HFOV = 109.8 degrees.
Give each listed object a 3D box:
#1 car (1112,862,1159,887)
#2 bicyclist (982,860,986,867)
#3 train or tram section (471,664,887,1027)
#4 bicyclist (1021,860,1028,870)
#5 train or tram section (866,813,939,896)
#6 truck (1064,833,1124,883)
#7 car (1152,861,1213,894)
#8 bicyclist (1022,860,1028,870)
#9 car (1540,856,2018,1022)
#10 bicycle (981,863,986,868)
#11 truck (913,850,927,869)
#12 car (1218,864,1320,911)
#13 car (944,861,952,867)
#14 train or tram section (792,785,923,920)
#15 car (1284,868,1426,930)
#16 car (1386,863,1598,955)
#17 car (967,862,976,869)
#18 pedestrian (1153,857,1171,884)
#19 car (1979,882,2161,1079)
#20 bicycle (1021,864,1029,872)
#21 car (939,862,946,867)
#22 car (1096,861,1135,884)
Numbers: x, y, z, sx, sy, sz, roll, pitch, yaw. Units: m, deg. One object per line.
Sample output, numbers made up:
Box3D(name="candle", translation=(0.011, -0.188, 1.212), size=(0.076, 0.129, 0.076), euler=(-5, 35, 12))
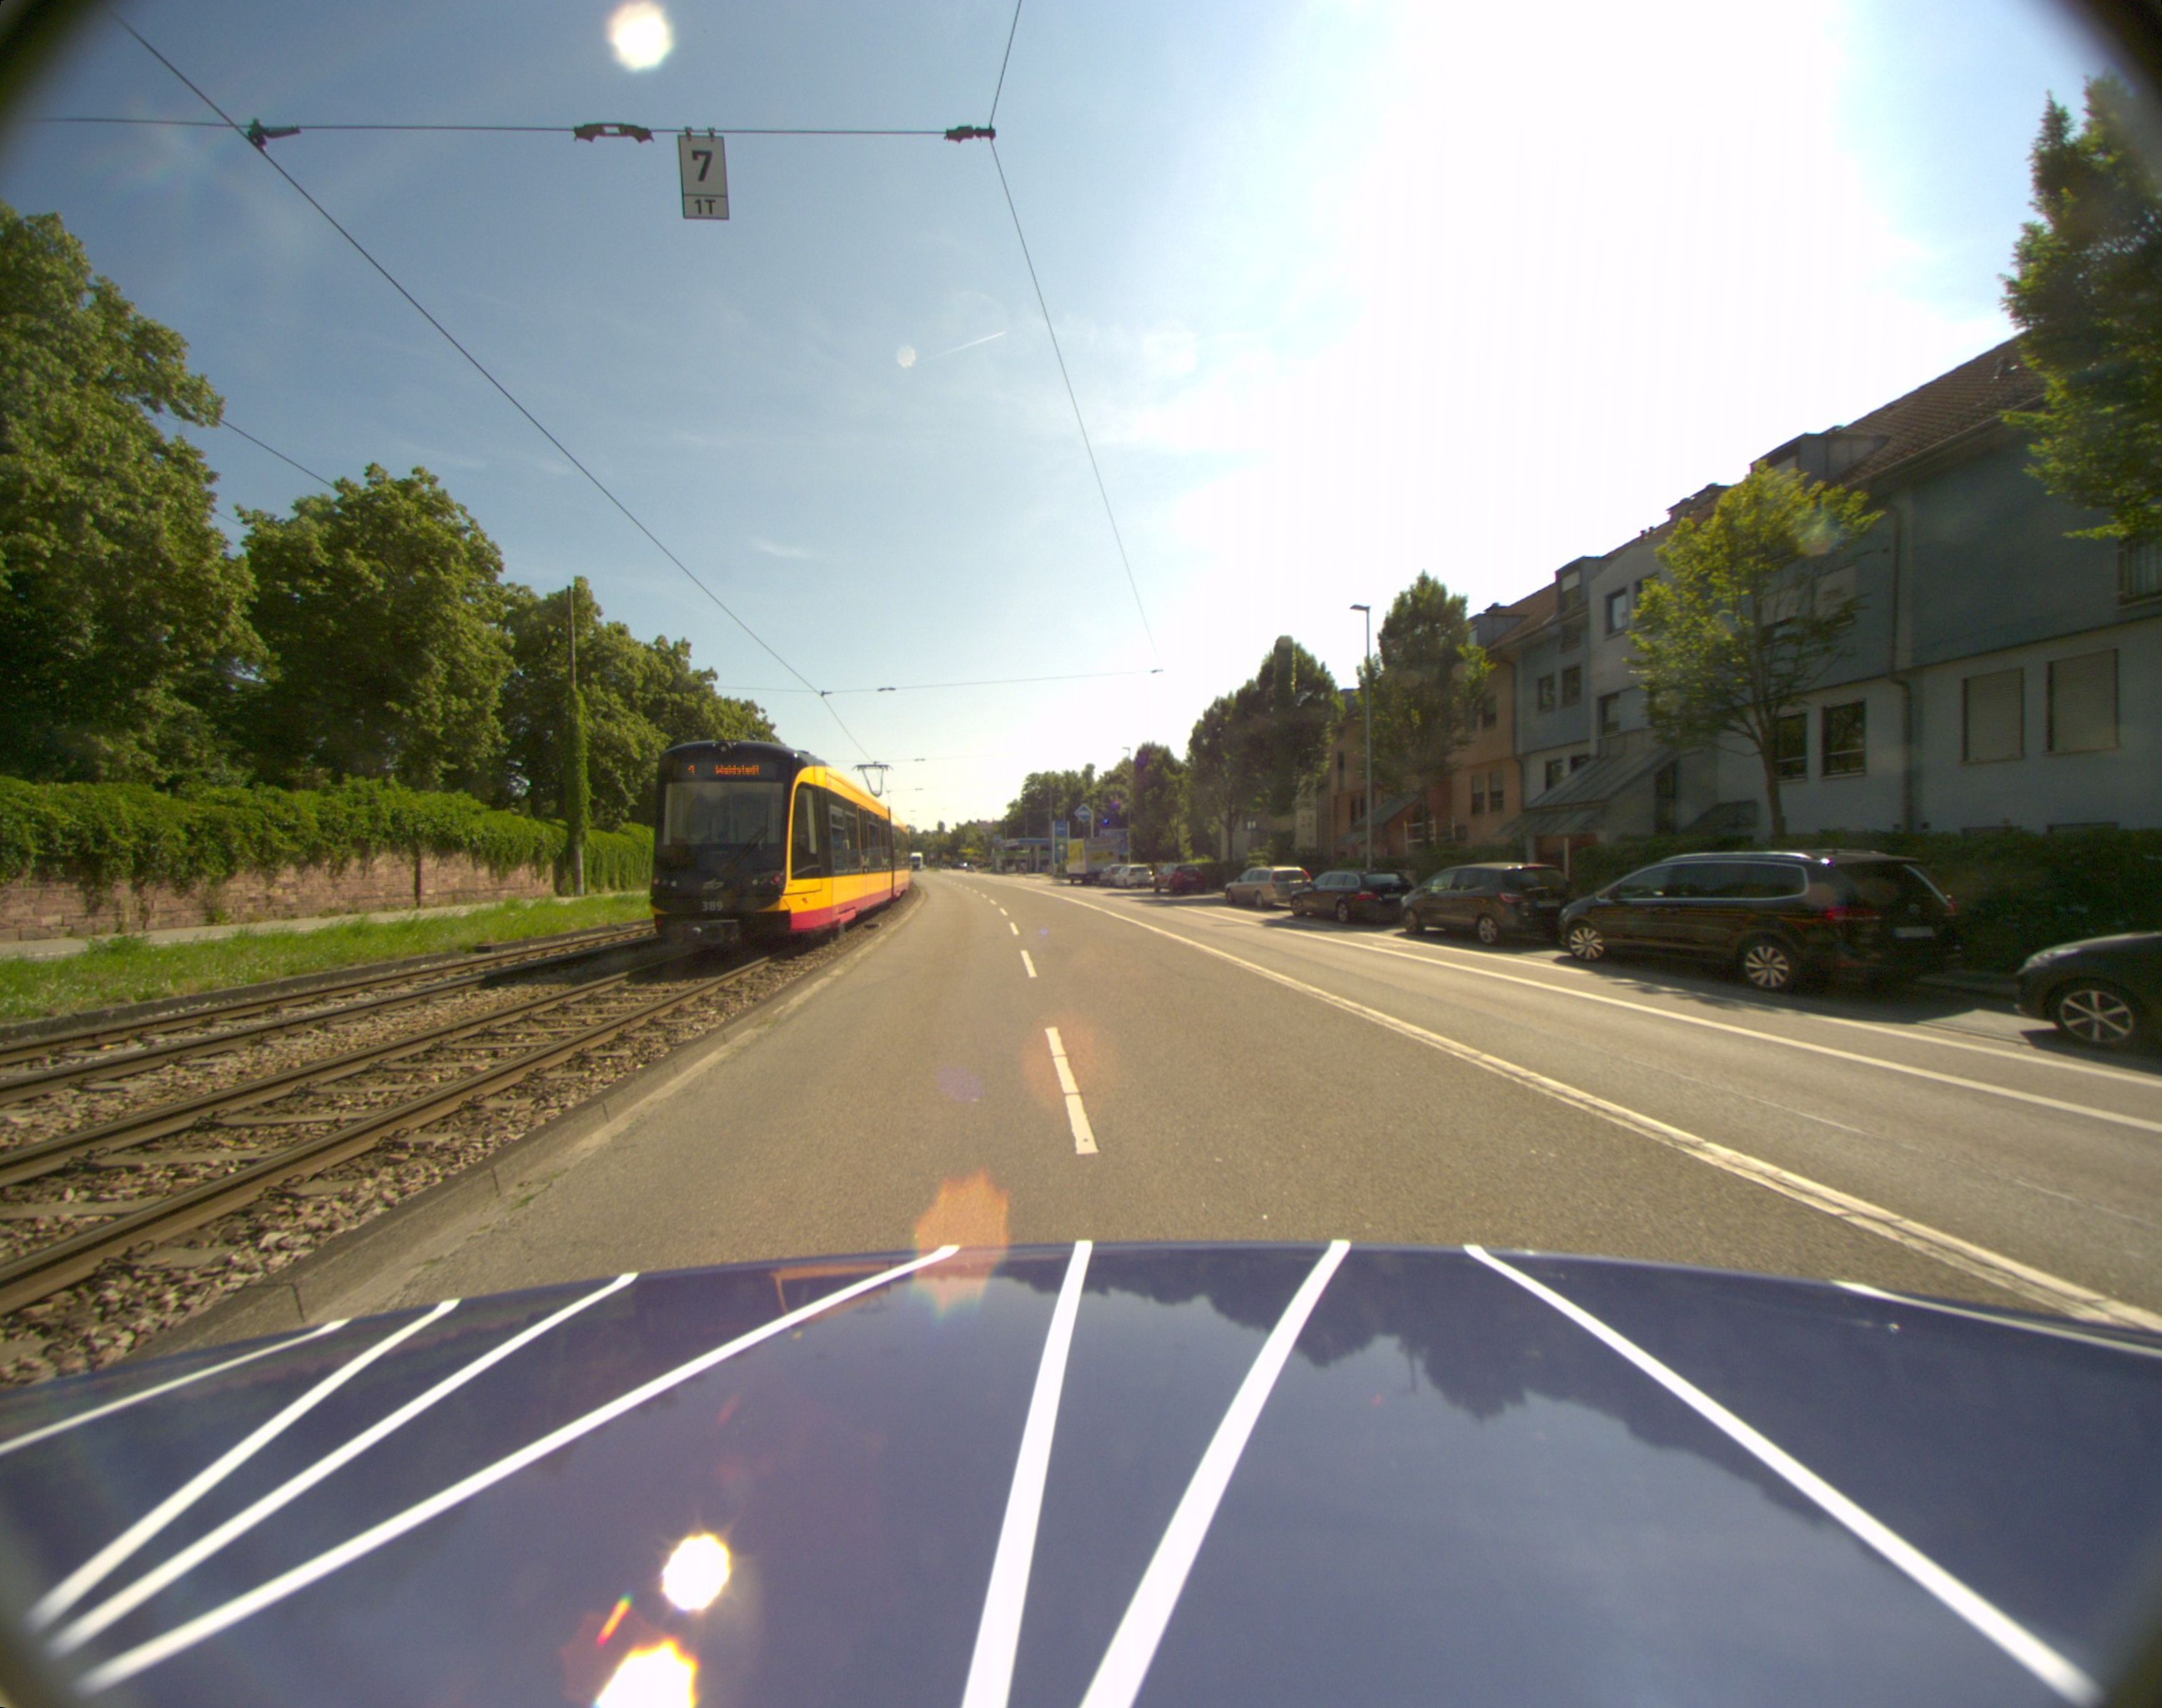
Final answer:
Box3D(name="car", translation=(3.334, 1.224, 47.437), size=(1.764, 1.420, 4.277), euler=(-2, 0, -12))
Box3D(name="bicyclist", translation=(-23.698, 2.297, 185.149), size=(0.838, 1.664, 0.826), euler=(-1, -1, -14))
Box3D(name="train or tram section", translation=(-5.851, -0.055, 14.564), size=(2.519, 3.725, 13.301), euler=(0, 0, -7))
Box3D(name="bicyclist", translation=(-8.043, 1.518, 107.930), size=(0.850, 1.427, 0.832), euler=(-1, 0, -10))
Box3D(name="train or tram section", translation=(-9.278, 0.062, 40.911), size=(2.519, 3.725, 13.301), euler=(0, 0, -7))
Box3D(name="truck", translation=(0.838, 0.336, 58.760), size=(2.676, 3.509, 8.581), euler=(-2, 0, -12))
Box3D(name="car", translation=(5.110, 1.158, 38.751), size=(1.737, 1.542, 4.314), euler=(-1, 0, -12))
Box3D(name="bicyclist", translation=(-7.920, 1.521, 107.162), size=(0.850, 1.427, 0.832), euler=(0, 0, -10))
Box3D(name="car", translation=(9.085, 0.924, 10.660), size=(1.775, 1.713, 4.866), euler=(-2, 0, -9))
Box3D(name="bicycle", translation=(-23.719, 2.779, 185.296), size=(0.941, 1.168, 2.209), euler=(0, -1, -12))
Box3D(name="truck", translation=(-35.219, 1.242, 166.812), size=(2.855, 3.983, 14.291), euler=(0, -1, -11))
Box3D(name="car", translation=(6.911, 1.187, 28.508), size=(1.787, 1.475, 4.852), euler=(-2, 0, -11))
Box3D(name="car", translation=(-40.214, 3.128, 228.911), size=(1.828, 1.661, 3.995), euler=(-1, -2, -18))
Box3D(name="train or tram section", translation=(-7.575, 0.004, 27.718), size=(2.519, 3.725, 13.301), euler=(0, 0, -8))
Box3D(name="car", translation=(7.741, 1.200, 21.992), size=(1.728, 1.466, 4.711), euler=(-2, 0, -10))
Box3D(name="car", translation=(8.458, 1.032, 16.155), size=(1.722, 1.615, 4.309), euler=(-2, 0, -8))
Box3D(name="car", translation=(-22.281, 2.286, 155.077), size=(1.664, 1.412, 4.306), euler=(1, 0, -10))
Box3D(name="pedestrian", translation=(5.201, 1.051, 49.029), size=(0.878, 1.681, 1.054), euler=(0, 0, -12))
Box3D(name="car", translation=(9.648, 1.042, 5.326), size=(1.695, 1.466, 4.046), euler=(-3, 0, -7))
Box3D(name="bicycle", translation=(-7.943, 1.926, 107.245), size=(0.828, 1.088, 2.769), euler=(0, 0, -11))
Box3D(name="car", translation=(-45.549, 3.457, 249.529), size=(1.828, 1.661, 3.995), euler=(-1, -2, -18))
Box3D(name="car", translation=(2.341, 1.246, 52.167), size=(1.615, 1.475, 3.631), euler=(-2, 0, -14))
